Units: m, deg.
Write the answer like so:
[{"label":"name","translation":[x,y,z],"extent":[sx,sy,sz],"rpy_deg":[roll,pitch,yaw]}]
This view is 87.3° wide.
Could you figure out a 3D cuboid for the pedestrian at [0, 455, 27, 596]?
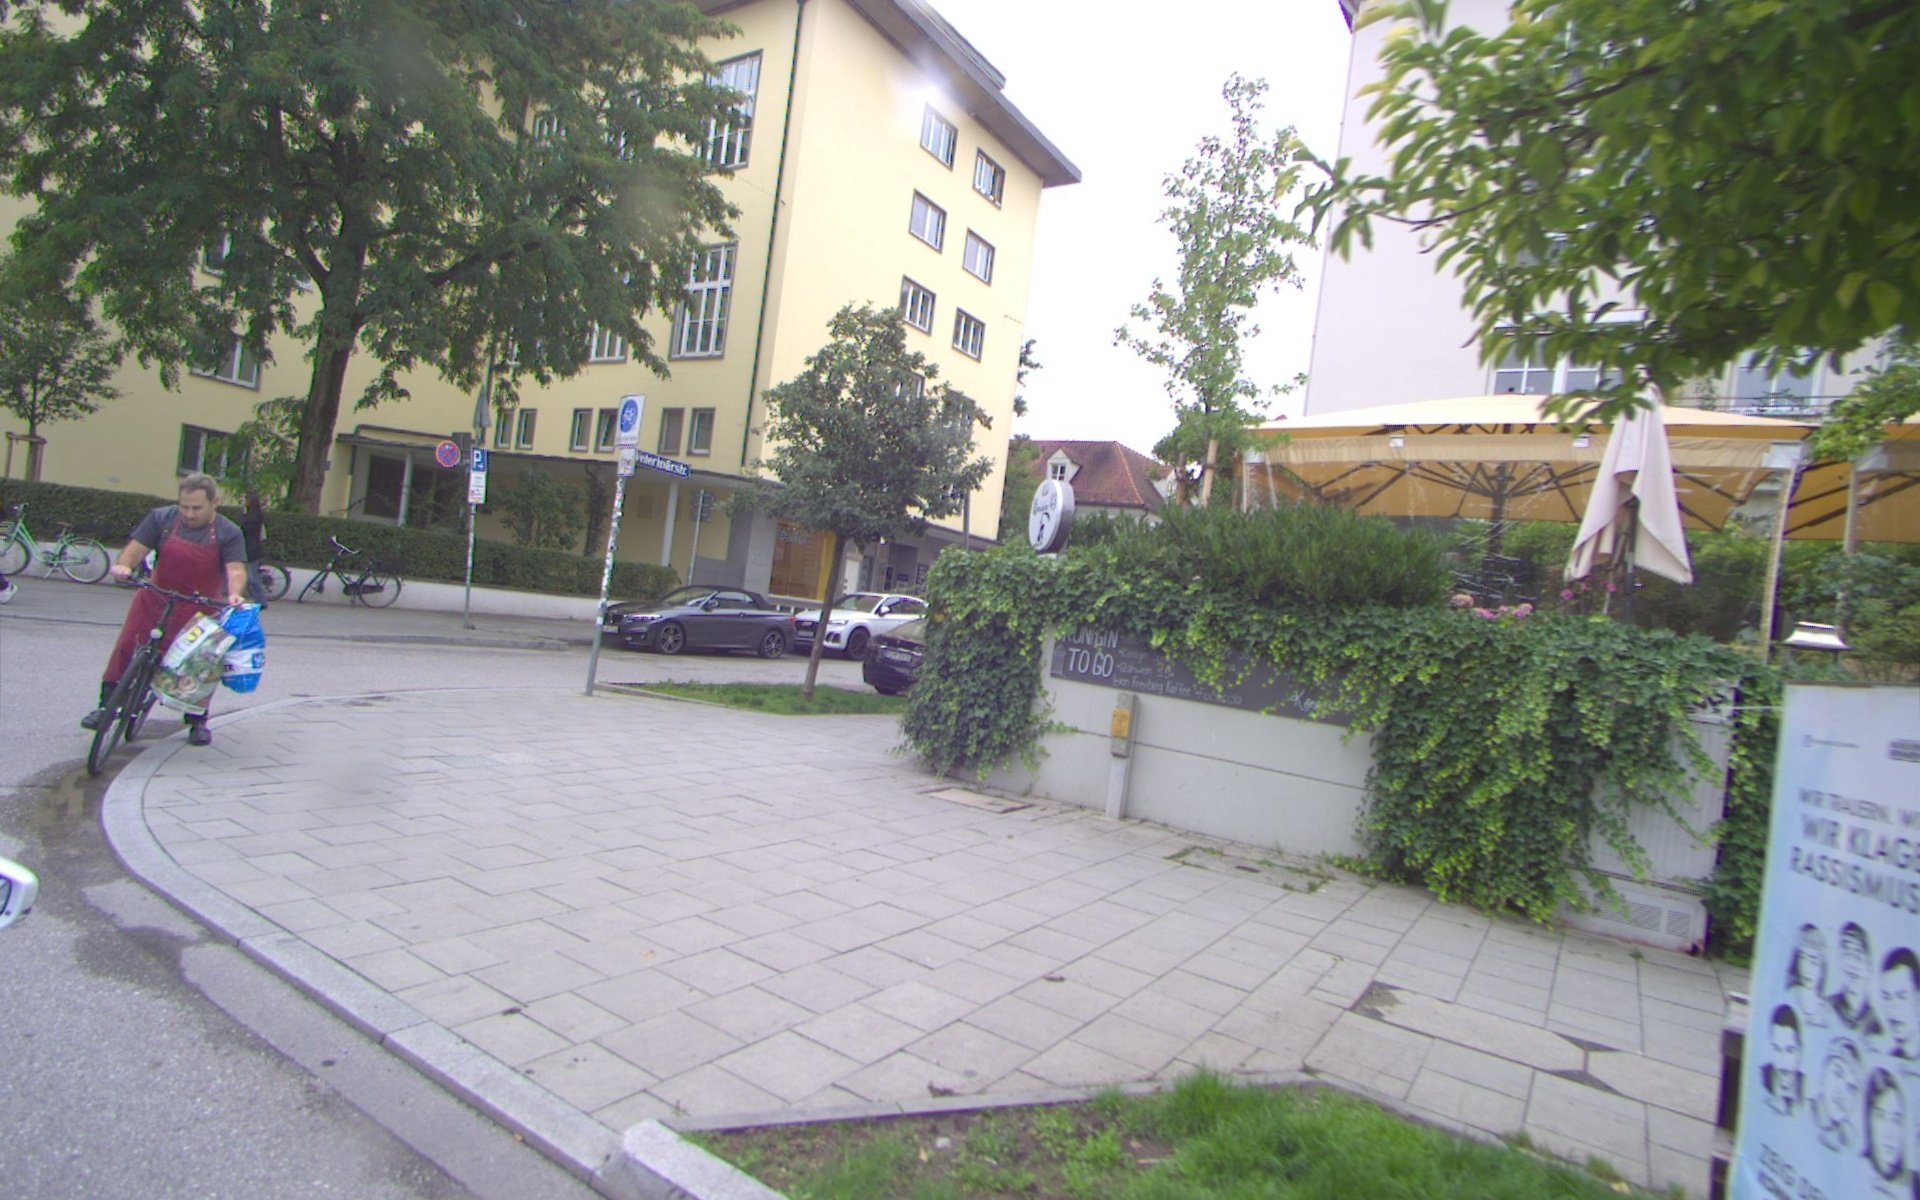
[{"label":"pedestrian","translation":[-12.578,-0.994,12.806],"extent":[0.822,1.768,0.733],"rpy_deg":[6,1,-38]}]

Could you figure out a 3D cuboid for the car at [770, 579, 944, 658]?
[{"label":"car","translation":[-2.423,0.497,24.754],"extent":[1.829,1.683,4.306],"rpy_deg":[4,-1,35]}]

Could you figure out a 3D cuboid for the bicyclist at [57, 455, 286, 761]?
[{"label":"bicyclist","translation":[-4.677,0.049,6.029],"extent":[0.871,1.629,1.038],"rpy_deg":[7,1,-37]}]

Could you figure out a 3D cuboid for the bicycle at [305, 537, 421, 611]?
[{"label":"bicycle","translation":[-10.799,-0.441,18.252],"extent":[0.452,1.144,1.683],"rpy_deg":[8,0,33]}]

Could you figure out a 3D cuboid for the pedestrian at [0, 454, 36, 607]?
[{"label":"pedestrian","translation":[-12.051,-0.900,12.285],"extent":[0.986,1.832,0.652],"rpy_deg":[6,1,-43]}]

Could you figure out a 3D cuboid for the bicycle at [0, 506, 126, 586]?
[{"label":"bicycle","translation":[-14.464,-0.864,15.873],"extent":[1.918,1.098,0.527],"rpy_deg":[5,1,-13]}]

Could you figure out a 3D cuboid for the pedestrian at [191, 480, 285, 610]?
[{"label":"pedestrian","translation":[-11.172,-0.840,15.572],"extent":[0.754,1.881,0.850],"rpy_deg":[7,2,34]}]

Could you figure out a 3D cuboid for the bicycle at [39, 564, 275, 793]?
[{"label":"bicycle","translation":[-4.759,0.402,6.067],"extent":[0.872,1.032,2.168],"rpy_deg":[7,0,-37]}]

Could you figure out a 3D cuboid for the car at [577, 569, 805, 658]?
[{"label":"car","translation":[-5.298,0.328,20.354],"extent":[1.637,1.383,4.321],"rpy_deg":[4,-2,36]}]

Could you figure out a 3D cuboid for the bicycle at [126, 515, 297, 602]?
[{"label":"bicycle","translation":[-12.401,-0.673,16.726],"extent":[2.158,1.129,0.633],"rpy_deg":[7,0,-39]}]

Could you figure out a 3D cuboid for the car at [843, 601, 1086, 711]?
[{"label":"car","translation":[0.235,0.985,17.197],"extent":[1.937,1.416,4.494],"rpy_deg":[8,0,32]}]
